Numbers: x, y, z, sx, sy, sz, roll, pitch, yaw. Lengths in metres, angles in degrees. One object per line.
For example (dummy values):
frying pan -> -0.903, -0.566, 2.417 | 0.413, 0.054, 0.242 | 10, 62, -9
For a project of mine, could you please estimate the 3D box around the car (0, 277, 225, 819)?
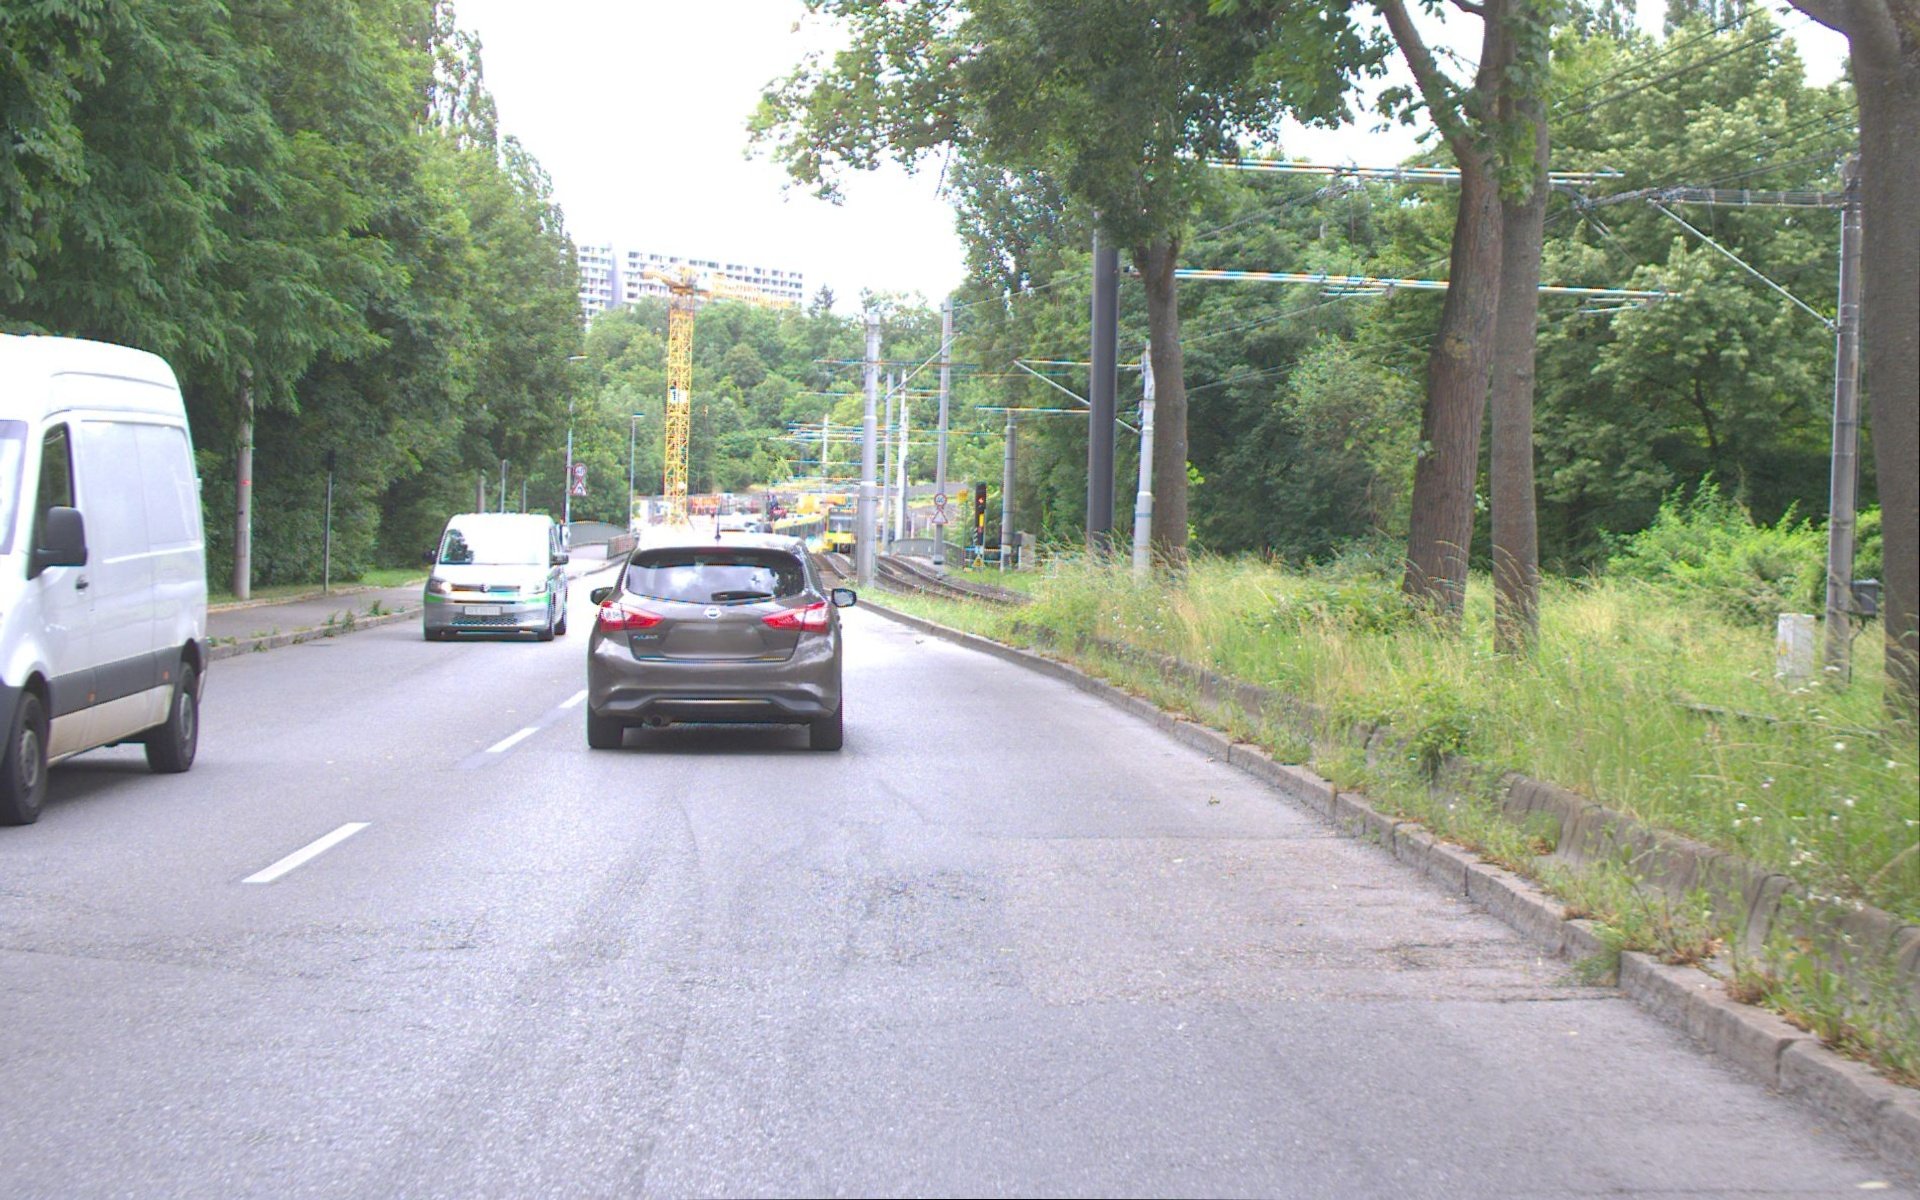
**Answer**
car -> -5.690, -0.315, 19.197 | 1.993, 2.617, 5.895 | 1, 1, -1

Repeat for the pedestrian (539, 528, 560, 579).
pedestrian -> -14.349, -1.624, 120.243 | 0.551, 1.759, 0.858 | 5, 0, -5

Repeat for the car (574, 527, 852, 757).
car -> -1.785, 0.254, 25.028 | 1.829, 1.504, 4.001 | 1, 1, -4

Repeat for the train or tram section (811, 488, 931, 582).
train or tram section -> -5.943, -4.027, 221.569 | 3.027, 5.165, 23.060 | 3, -2, -13

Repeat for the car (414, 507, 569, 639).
car -> -6.676, -0.421, 49.385 | 1.856, 1.793, 4.557 | 0, 1, -3
